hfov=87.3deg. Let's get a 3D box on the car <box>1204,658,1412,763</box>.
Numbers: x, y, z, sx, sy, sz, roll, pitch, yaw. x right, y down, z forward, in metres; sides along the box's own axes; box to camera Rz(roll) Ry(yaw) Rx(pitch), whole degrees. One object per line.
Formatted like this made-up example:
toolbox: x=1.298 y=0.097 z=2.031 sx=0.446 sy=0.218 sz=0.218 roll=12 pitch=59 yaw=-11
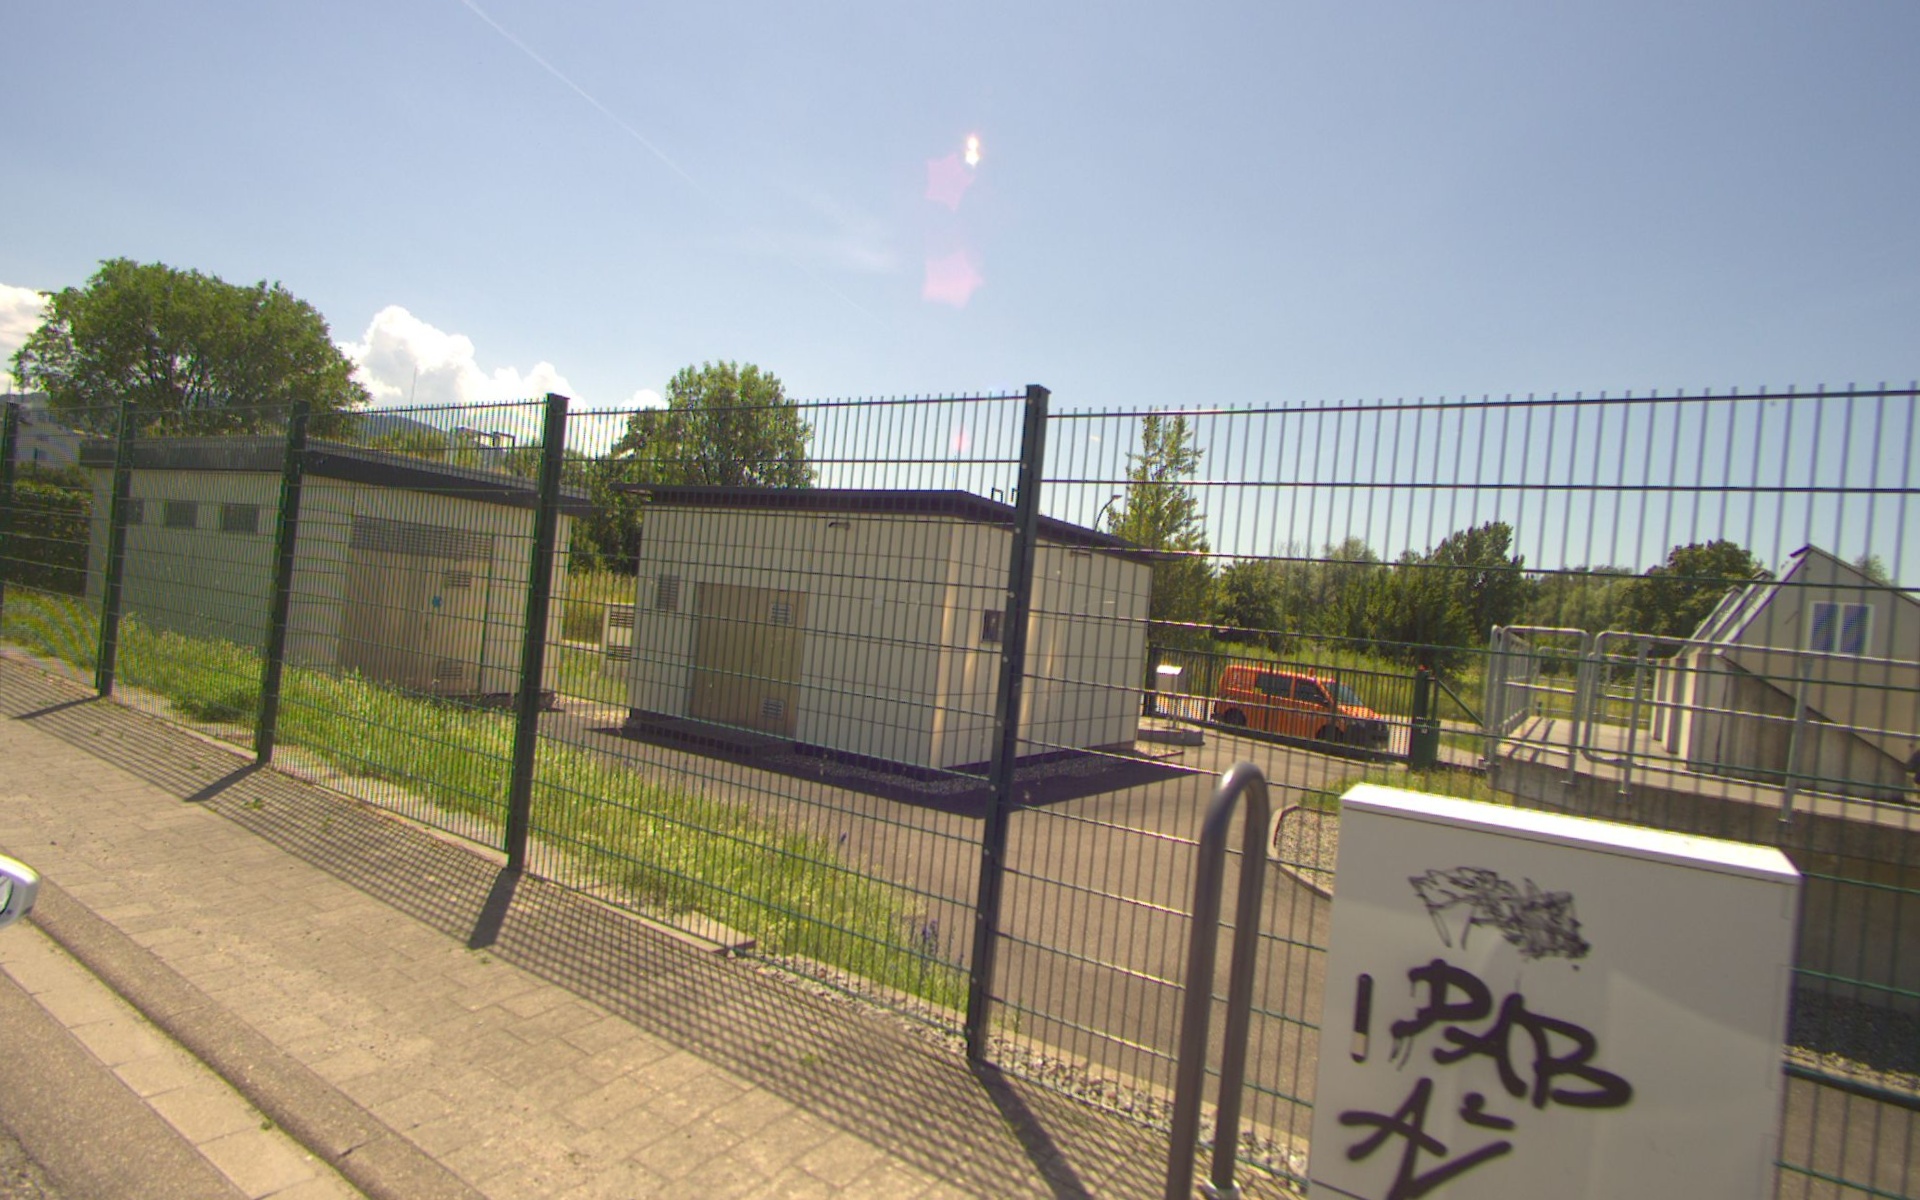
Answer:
car: x=9.370 y=2.944 z=27.453 sx=1.985 sy=2.045 sz=4.867 roll=7 pitch=0 yaw=-39
